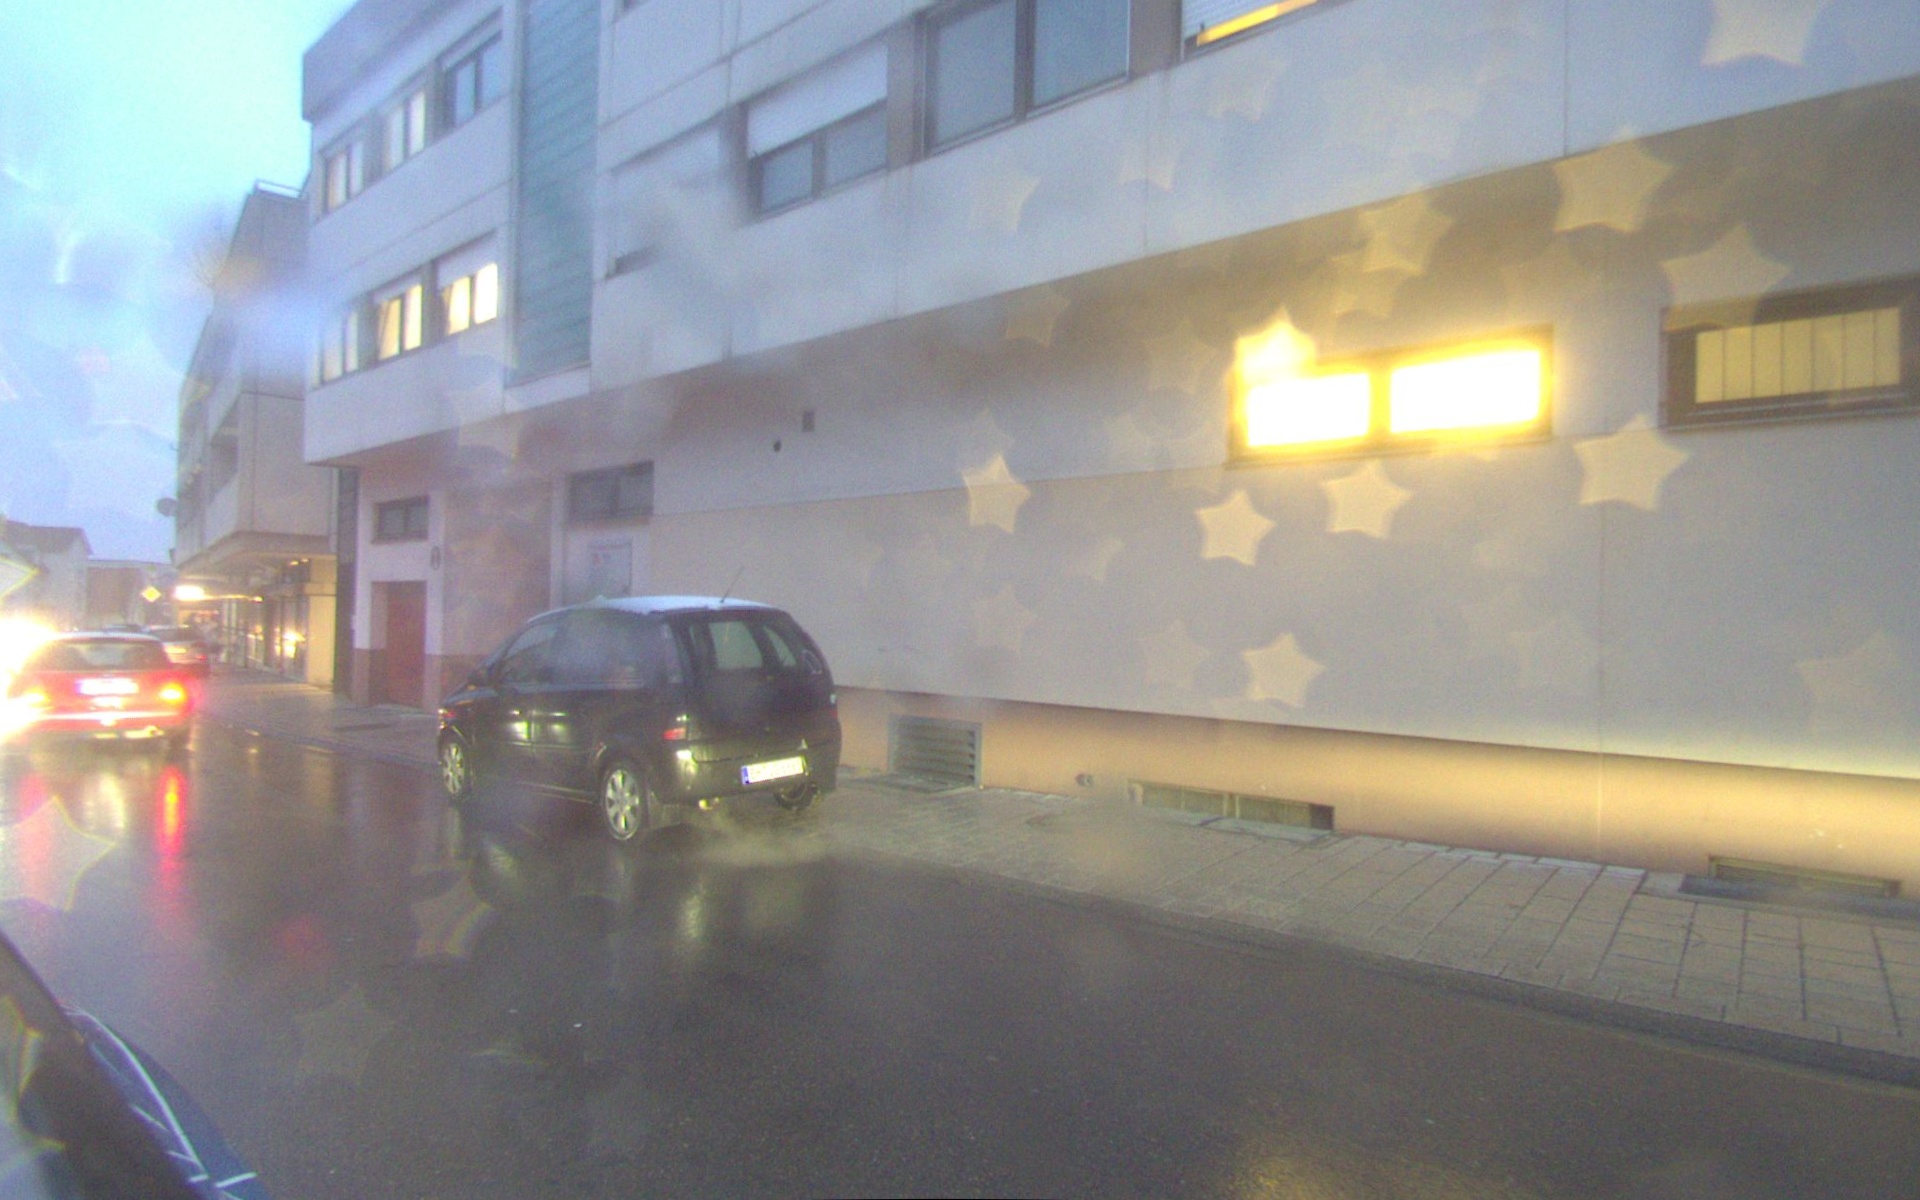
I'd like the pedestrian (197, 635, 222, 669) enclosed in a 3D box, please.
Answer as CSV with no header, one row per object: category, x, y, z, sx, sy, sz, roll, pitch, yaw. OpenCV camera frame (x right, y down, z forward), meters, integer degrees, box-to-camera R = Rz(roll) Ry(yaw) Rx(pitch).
pedestrian,-30.412,2.091,40.995,0.746,1.320,0.829,0,-1,-43

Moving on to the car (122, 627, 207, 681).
car,-23.549,1.551,29.907,1.655,1.457,4.433,2,-3,-42

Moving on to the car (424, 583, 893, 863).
car,-2.500,0.773,7.925,3.810,1.655,1.775,-2,-1,41

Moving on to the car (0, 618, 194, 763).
car,-10.861,1.009,12.584,3.407,1.547,1.619,-2,-2,44

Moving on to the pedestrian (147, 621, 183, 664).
pedestrian,-37.051,1.987,47.206,1.182,1.953,0.979,2,-3,-33

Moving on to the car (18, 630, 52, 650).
car,-74.690,3.250,81.769,1.771,1.522,4.007,4,-4,-39

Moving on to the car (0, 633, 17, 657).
car,-62.522,2.900,65.392,1.770,1.522,4.009,4,-4,-37

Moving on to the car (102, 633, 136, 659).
car,-56.777,3.081,68.309,1.699,1.626,3.822,-1,-1,-40
